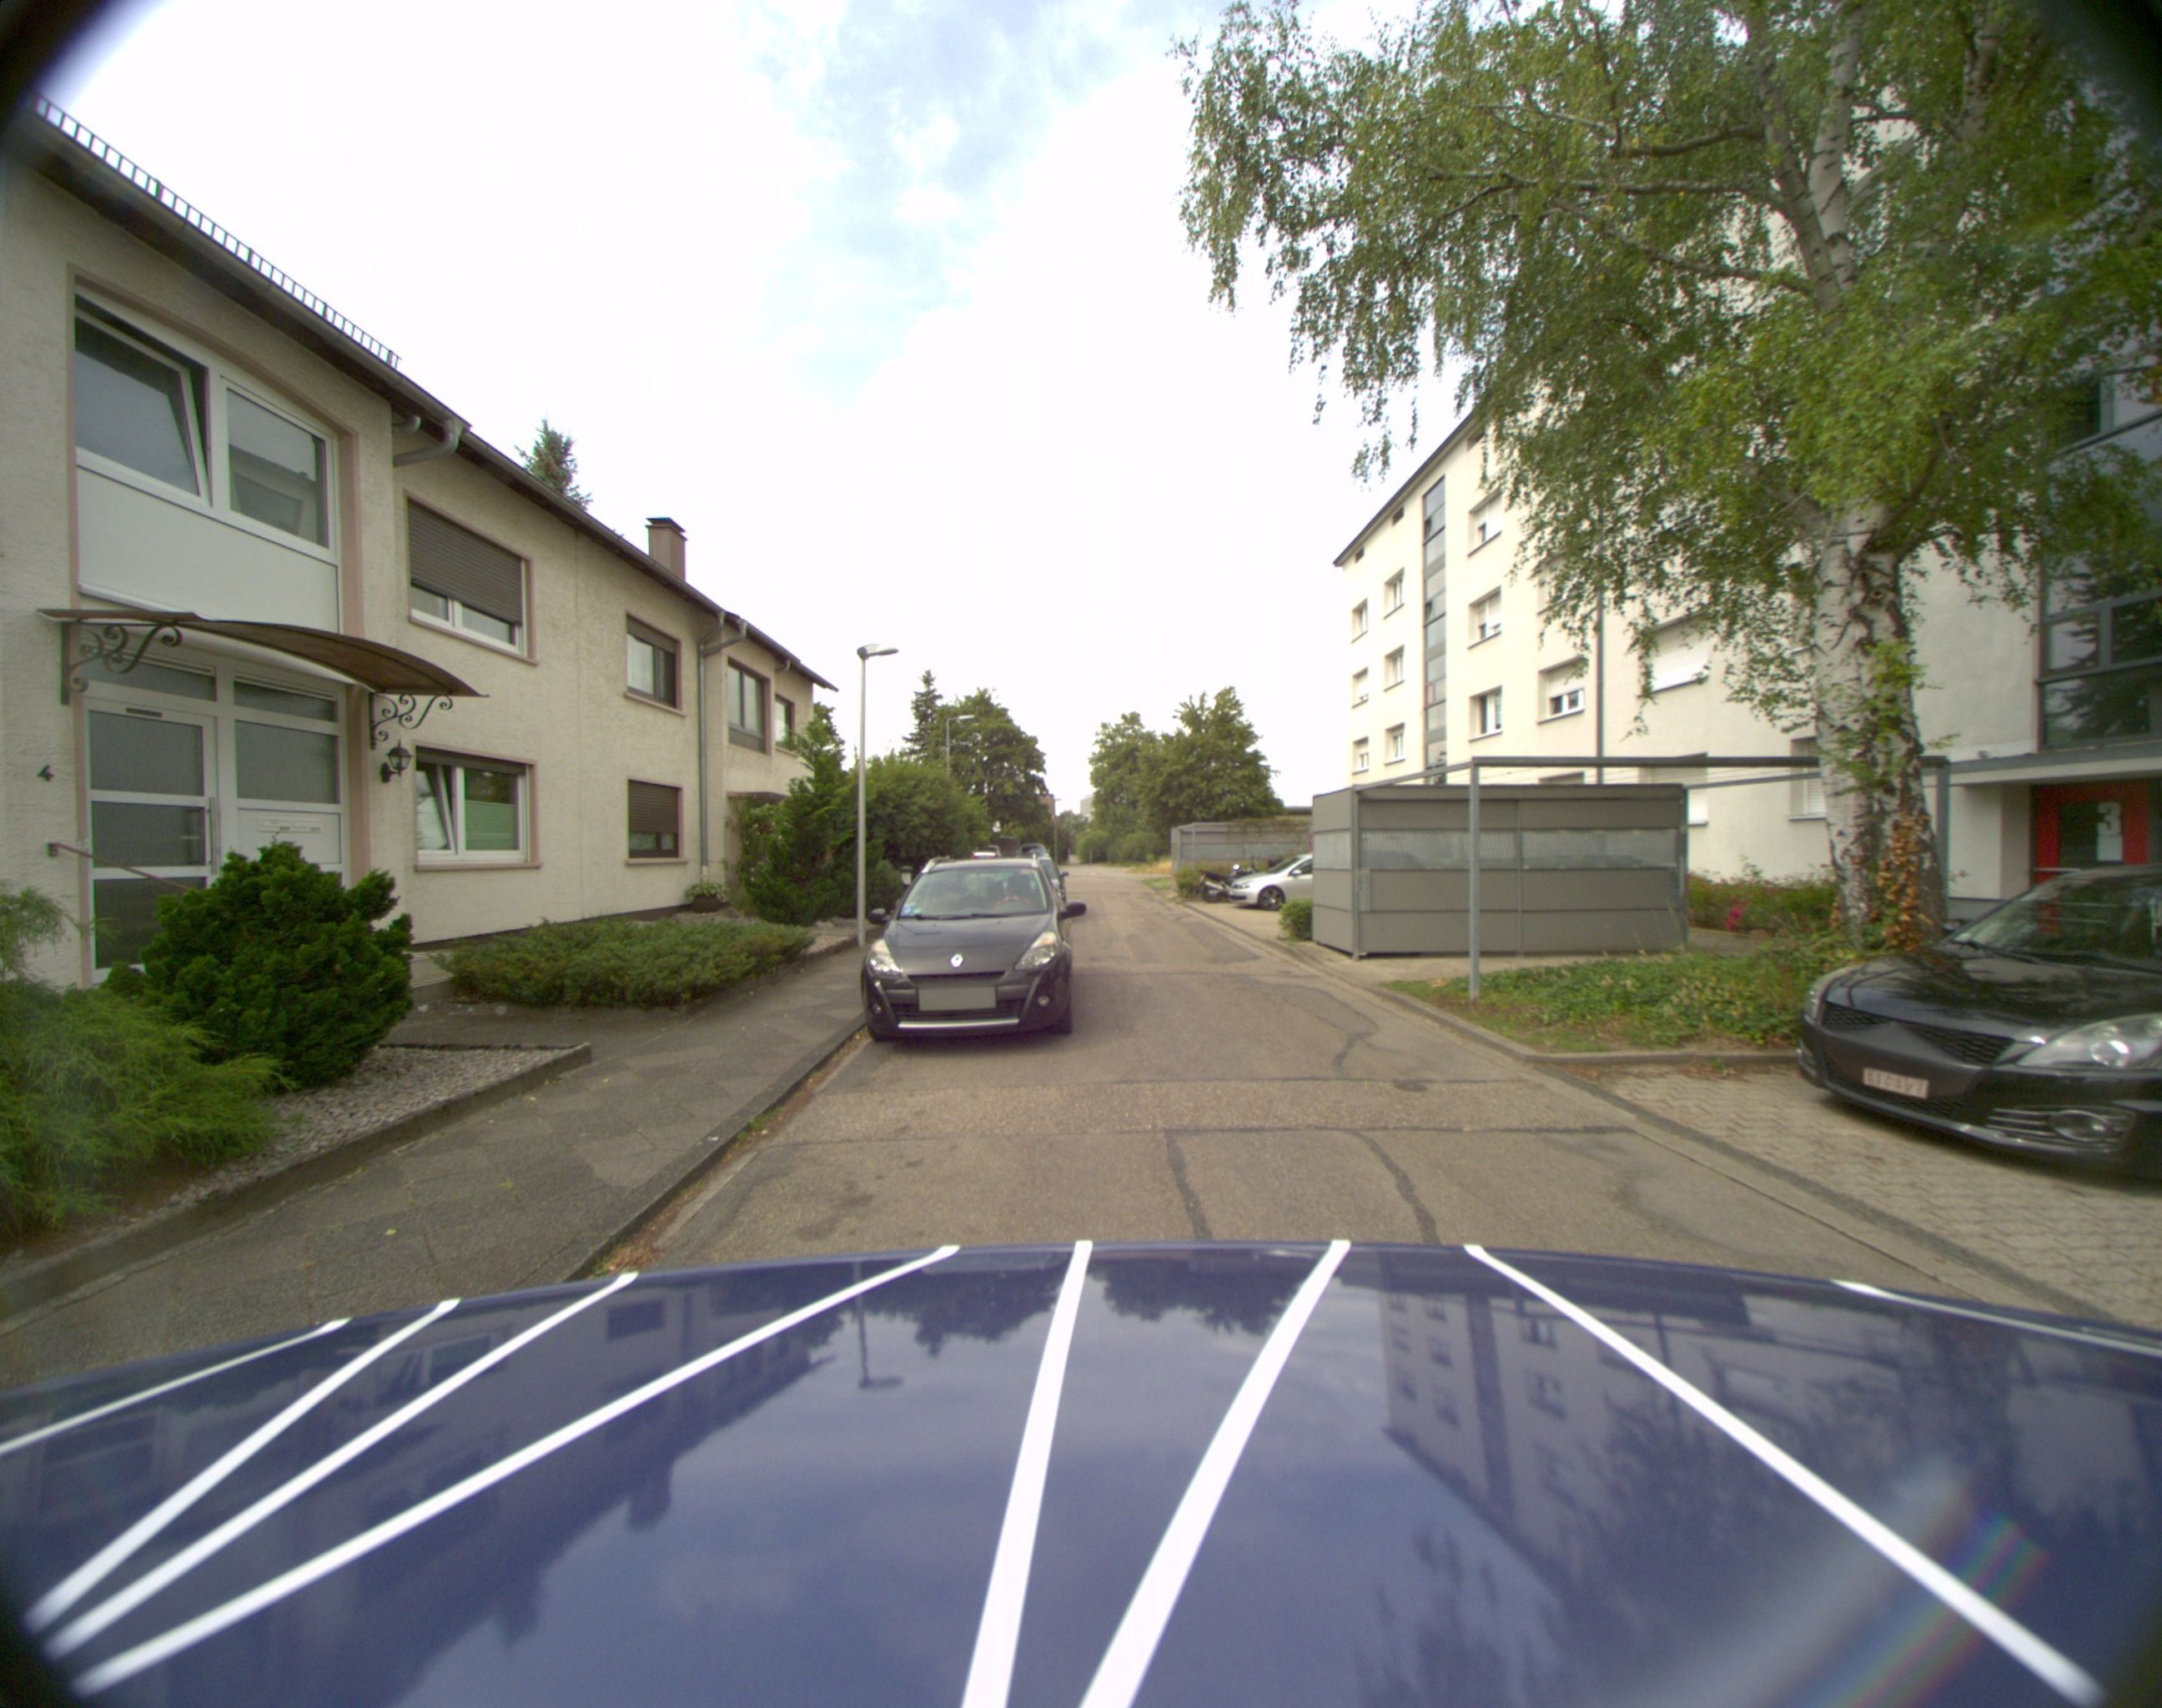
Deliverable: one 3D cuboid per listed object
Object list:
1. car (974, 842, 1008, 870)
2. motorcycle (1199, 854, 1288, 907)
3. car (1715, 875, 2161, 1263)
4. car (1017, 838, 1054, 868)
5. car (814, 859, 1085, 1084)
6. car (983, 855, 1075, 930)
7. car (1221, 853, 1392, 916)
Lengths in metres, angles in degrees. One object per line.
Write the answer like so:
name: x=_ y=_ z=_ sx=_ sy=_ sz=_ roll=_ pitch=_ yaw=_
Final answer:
car: x=-5.126 y=0.078 z=43.749 sx=1.705 sy=1.458 sz=3.997 roll=0 pitch=2 yaw=-3
motorcycle: x=4.684 y=0.755 z=22.011 sx=2.383 sy=1.456 sz=0.714 roll=1 pitch=1 yaw=-1
car: x=6.096 y=0.903 z=3.987 sx=4.062 sy=1.496 sz=1.781 roll=0 pitch=1 yaw=-1
car: x=-2.582 y=-0.067 z=43.166 sx=1.926 sy=1.576 sz=3.998 roll=-2 pitch=1 yaw=-3
car: x=-1.012 y=0.830 z=7.405 sx=1.834 sy=1.449 sz=4.188 roll=-2 pitch=1 yaw=-3
car: x=-1.169 y=0.785 z=17.681 sx=1.834 sy=1.449 sz=4.188 roll=-2 pitch=1 yaw=-3
car: x=5.933 y=0.783 z=20.357 sx=3.997 sy=1.477 sz=1.902 roll=1 pitch=1 yaw=1
